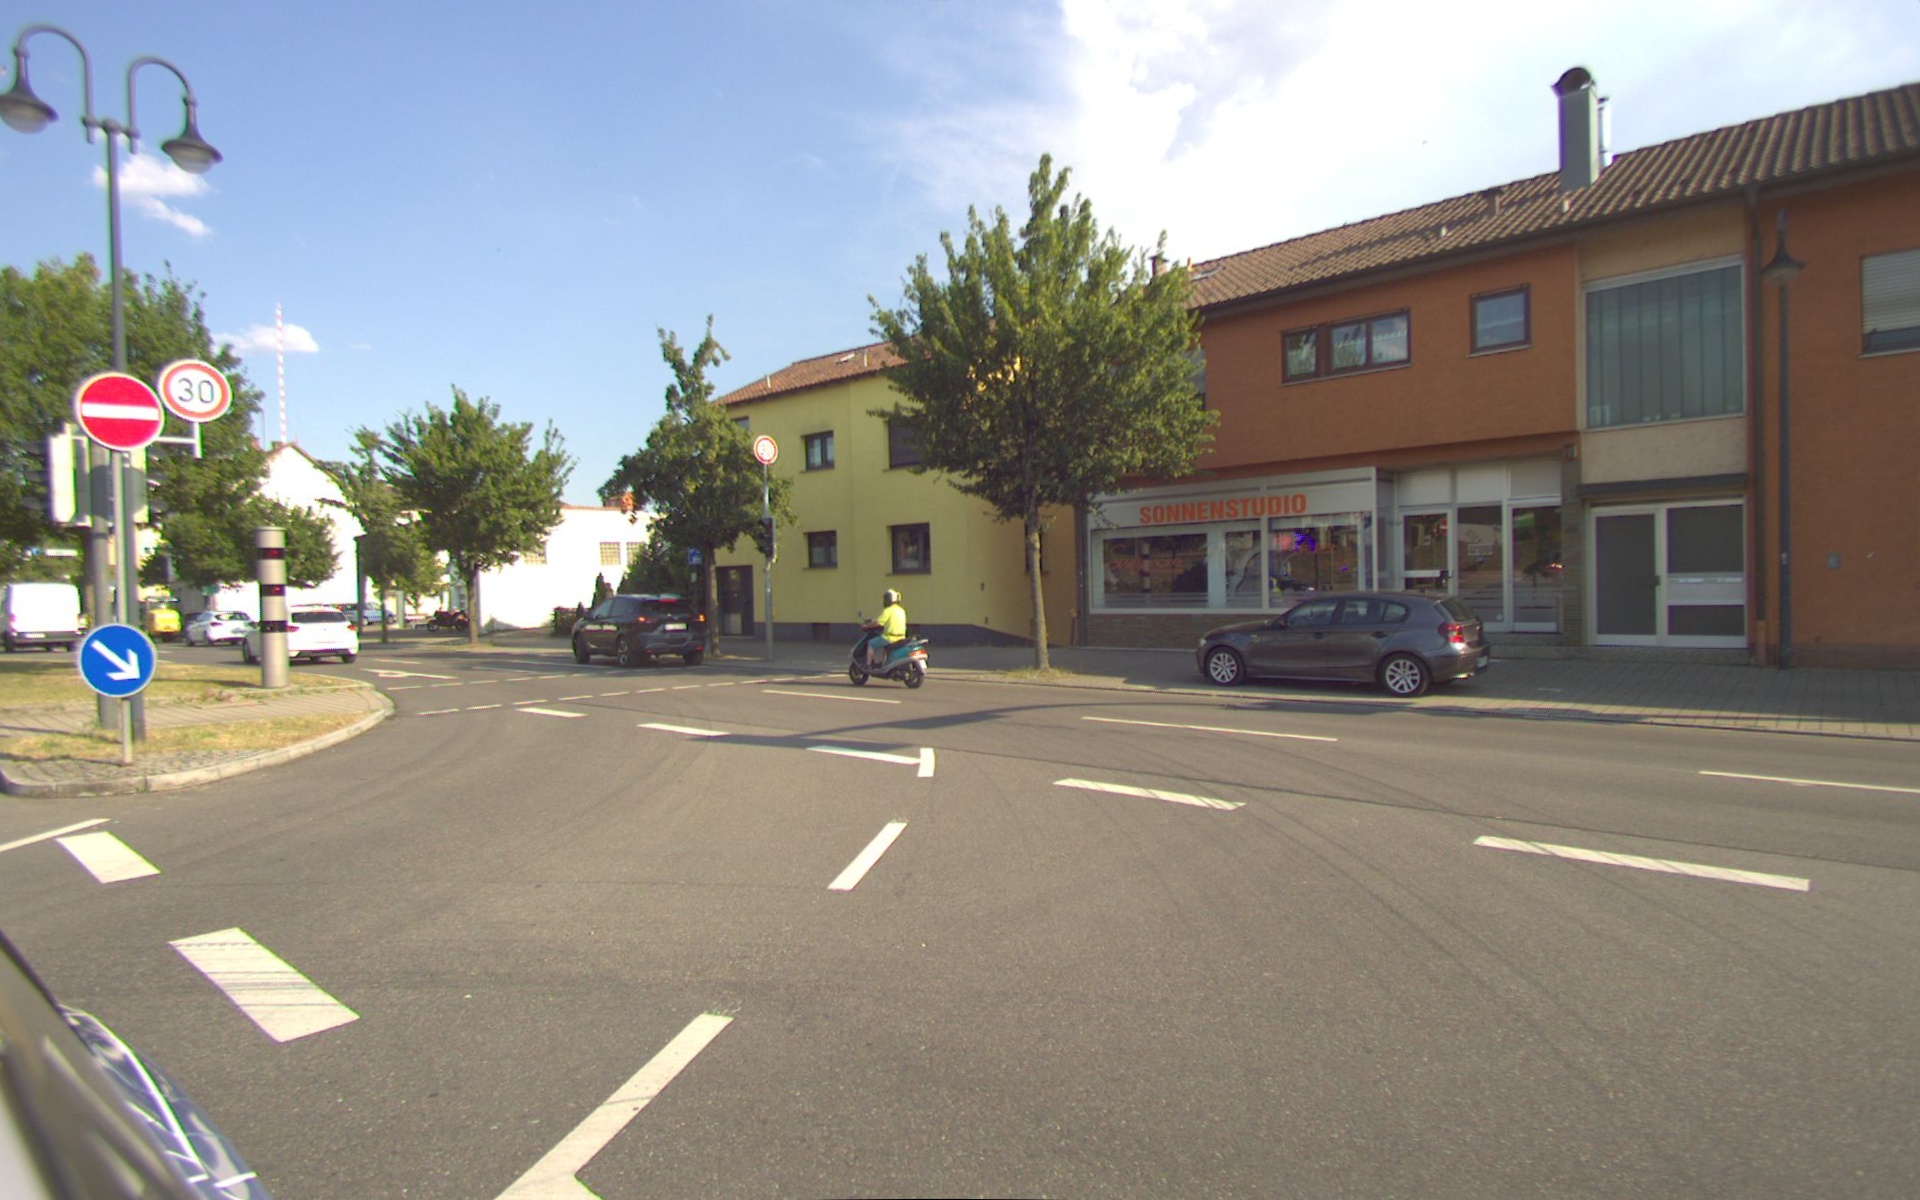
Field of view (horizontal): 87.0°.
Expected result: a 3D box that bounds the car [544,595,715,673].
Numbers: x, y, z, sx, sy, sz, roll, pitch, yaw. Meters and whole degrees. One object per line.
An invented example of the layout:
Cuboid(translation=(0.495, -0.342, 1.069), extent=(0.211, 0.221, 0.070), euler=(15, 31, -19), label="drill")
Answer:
Cuboid(translation=(-7.685, 0.749, 23.326), extent=(4.460, 1.607, 1.834), euler=(-1, 0, 43), label="car")

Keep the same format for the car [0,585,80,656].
Cuboid(translation=(-35.245, 0.754, 38.167), extent=(5.470, 2.494, 2.065), euler=(-1, 0, 38), label="car")

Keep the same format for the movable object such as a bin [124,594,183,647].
Cuboid(translation=(-39.789, 1.008, 49.888), extent=(4.977, 2.480, 1.536), euler=(-1, -1, 43), label="movable object such as a bin")

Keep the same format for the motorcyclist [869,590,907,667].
Cuboid(translation=(-1.169, 0.459, 16.483), extent=(0.461, 1.238, 0.399), euler=(-1, 0, 38), label="motorcyclist")

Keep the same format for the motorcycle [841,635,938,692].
Cuboid(translation=(-1.167, 1.008, 16.489), extent=(1.761, 0.867, 0.408), euler=(-1, 0, 40), label="motorcycle")

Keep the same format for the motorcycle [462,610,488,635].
Cuboid(translation=(-22.530, 1.034, 47.061), extent=(0.542, 1.107, 2.052), euler=(-2, 0, -10), label="motorcycle")

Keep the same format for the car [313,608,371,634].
Cuboid(translation=(-40.342, 1.335, 66.143), extent=(1.566, 1.576, 3.429), euler=(-1, 0, 2), label="car")

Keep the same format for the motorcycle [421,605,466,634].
Cuboid(translation=(-25.567, 0.963, 50.122), extent=(2.096, 1.332, 0.487), euler=(-2, -1, 10), label="motorcycle")

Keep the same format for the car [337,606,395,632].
Cuboid(translation=(-37.696, 1.199, 64.342), extent=(1.599, 1.555, 3.429), euler=(-1, -1, 2), label="car")

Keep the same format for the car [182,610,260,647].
Cuboid(translation=(-30.734, 1.183, 42.035), extent=(4.211, 1.424, 1.674), euler=(-1, 0, 40), label="car")

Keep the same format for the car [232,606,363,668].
Cuboid(translation=(-16.895, 0.913, 25.743), extent=(3.997, 1.422, 1.739), euler=(-1, 0, 41), label="car")

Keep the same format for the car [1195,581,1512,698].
Cuboid(translation=(5.658, 0.512, 14.817), extent=(3.940, 1.424, 1.777), euler=(-1, 2, 42), label="car")

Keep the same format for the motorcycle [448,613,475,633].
Cuboid(translation=(-30.535, 1.434, 61.988), extent=(2.113, 1.155, 0.483), euler=(-2, -1, 35), label="motorcycle")

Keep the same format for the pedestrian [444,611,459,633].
Cuboid(translation=(-30.995, 1.346, 61.668), extent=(0.583, 1.350, 0.589), euler=(-1, 0, 33), label="pedestrian")
